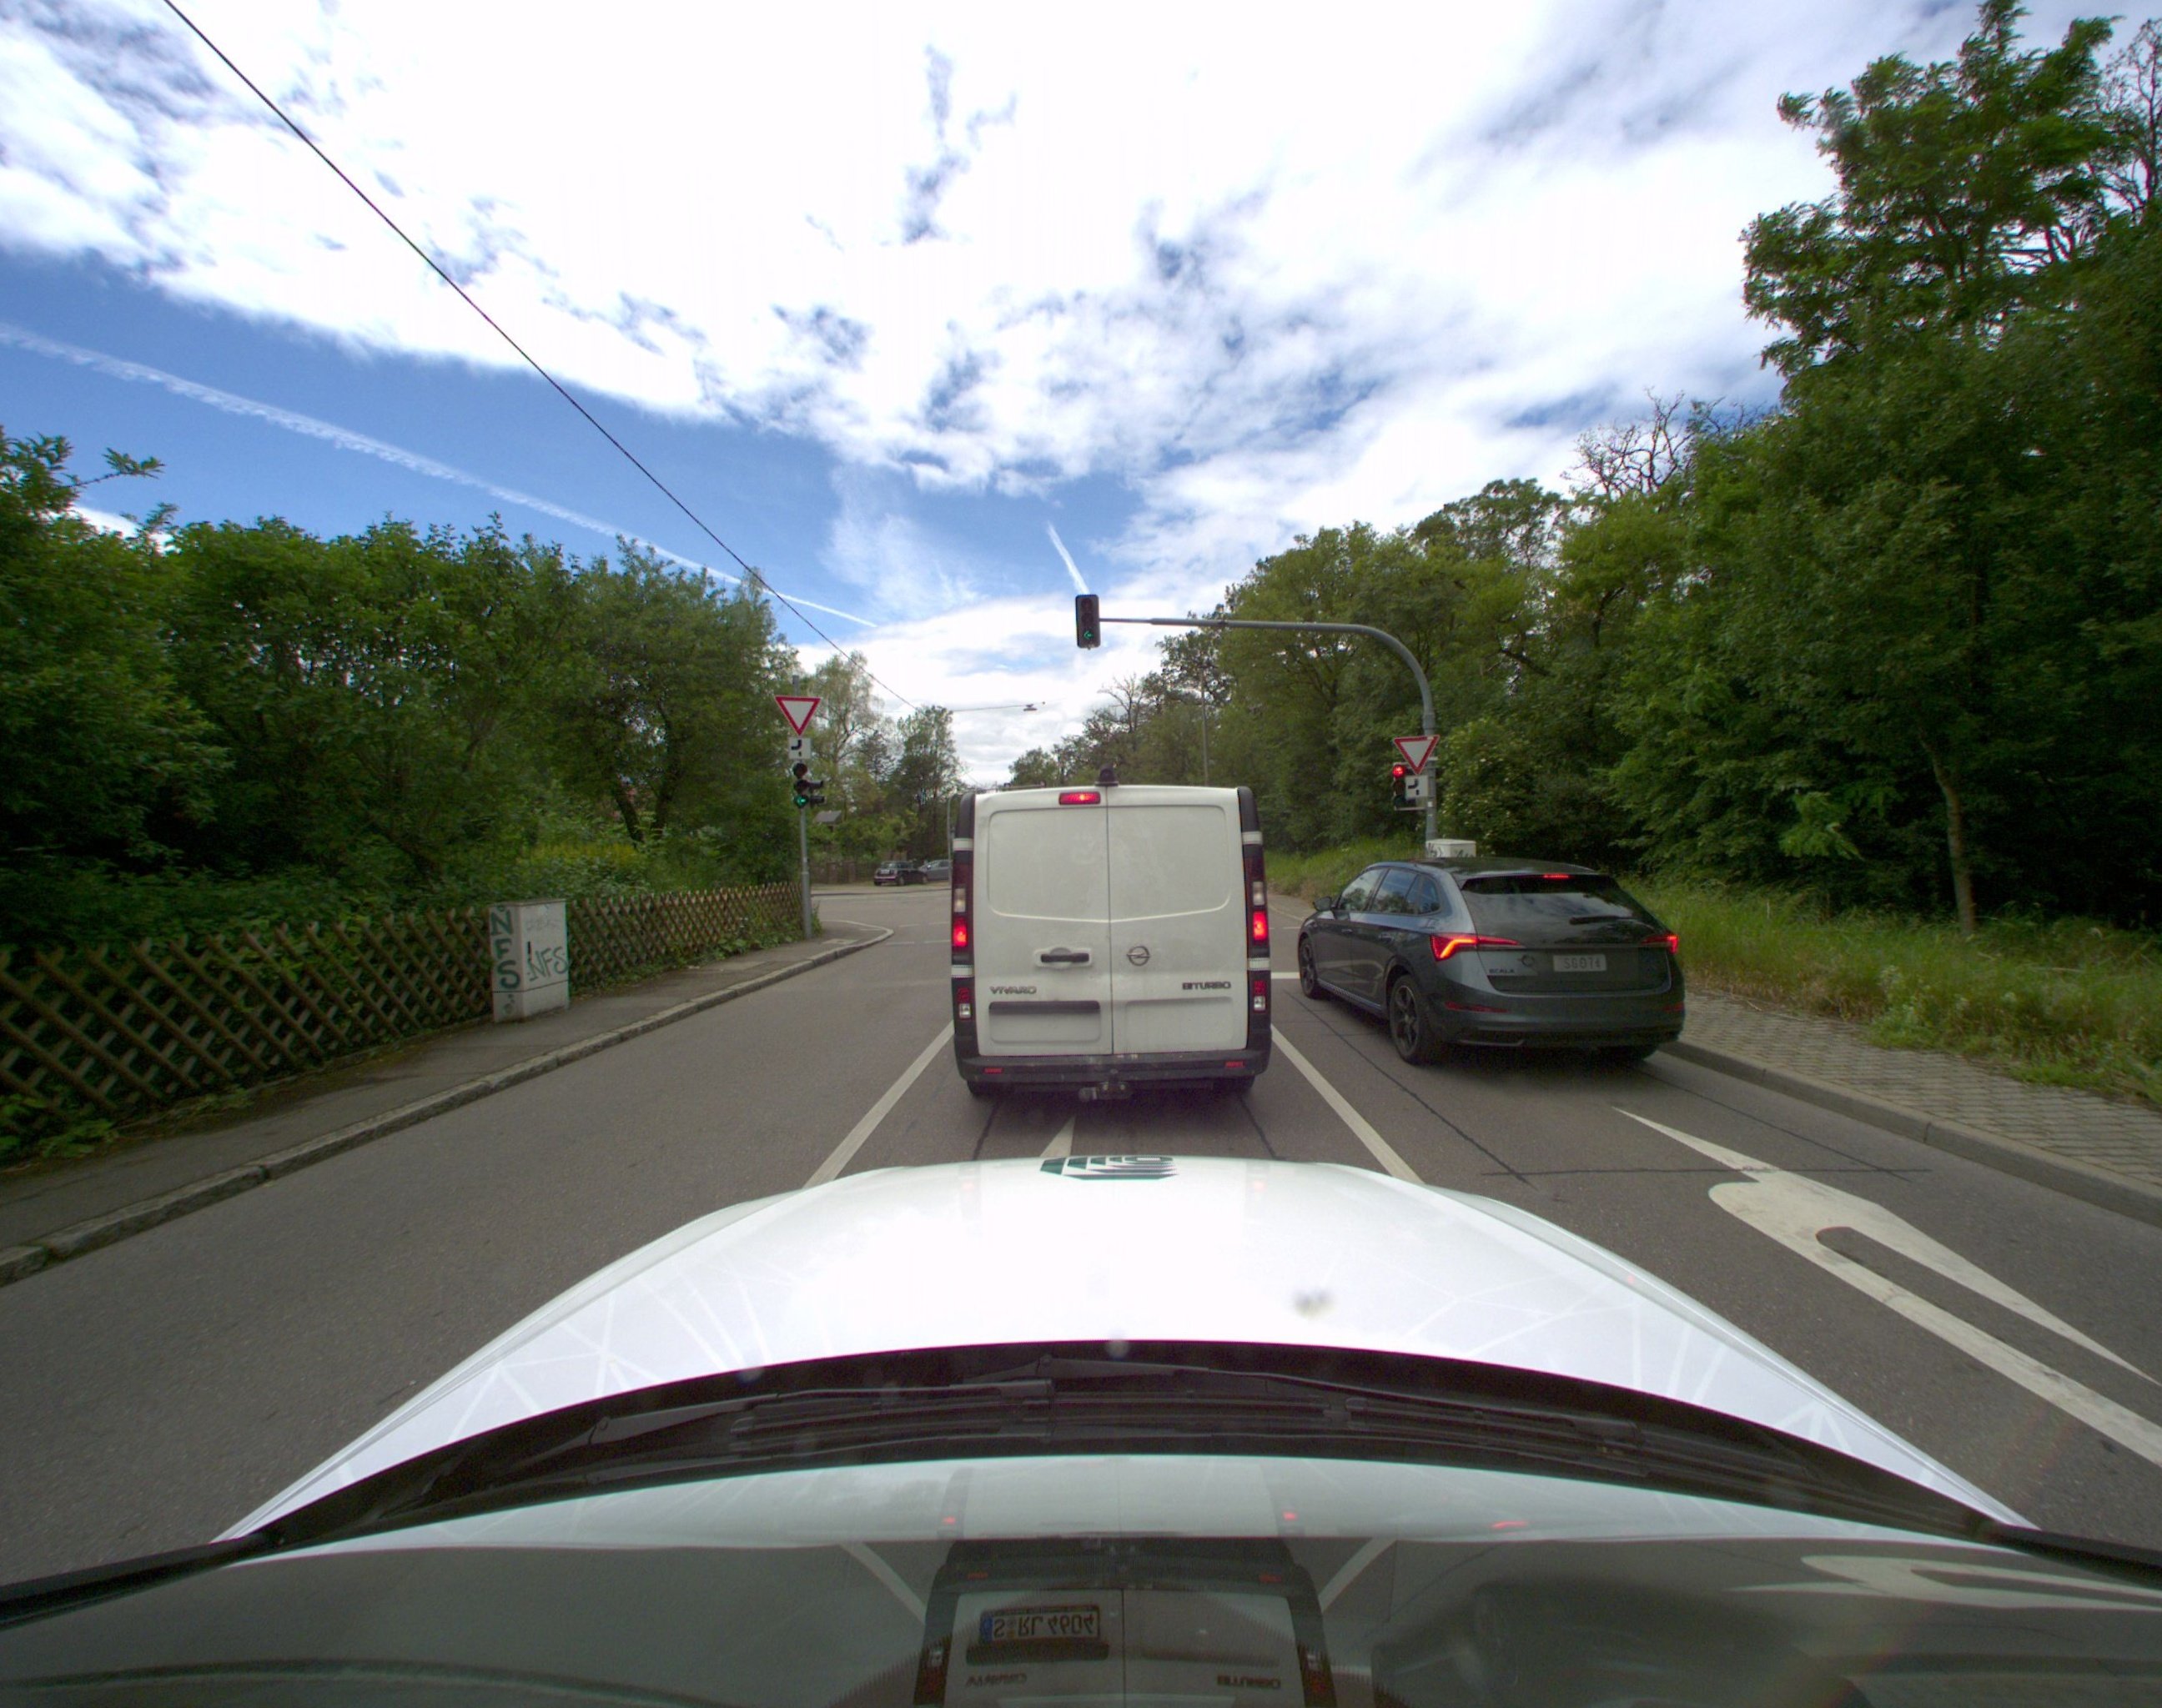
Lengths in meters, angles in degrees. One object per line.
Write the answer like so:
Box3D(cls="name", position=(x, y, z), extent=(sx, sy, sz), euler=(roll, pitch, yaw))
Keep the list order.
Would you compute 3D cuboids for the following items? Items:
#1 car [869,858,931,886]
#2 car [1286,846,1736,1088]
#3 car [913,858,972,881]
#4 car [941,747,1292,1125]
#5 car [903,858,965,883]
Box3D(cls="car", position=(-10.228, 0.984, 46.284), extent=(1.683, 1.449, 3.562), euler=(1, 0, 22))
Box3D(cls="car", position=(3.164, 0.695, 7.034), extent=(1.786, 1.450, 4.000), euler=(-1, 0, 1))
Box3D(cls="car", position=(-10.130, 1.122, 59.597), extent=(4.094, 1.553, 1.845), euler=(-2, 1, -16))
Box3D(cls="car", position=(0.187, 0.441, 6.746), extent=(1.910, 2.053, 4.613), euler=(0, 0, 0))
Box3D(cls="car", position=(-10.211, 1.122, 56.560), extent=(4.094, 1.553, 1.845), euler=(-2, 1, -16))
